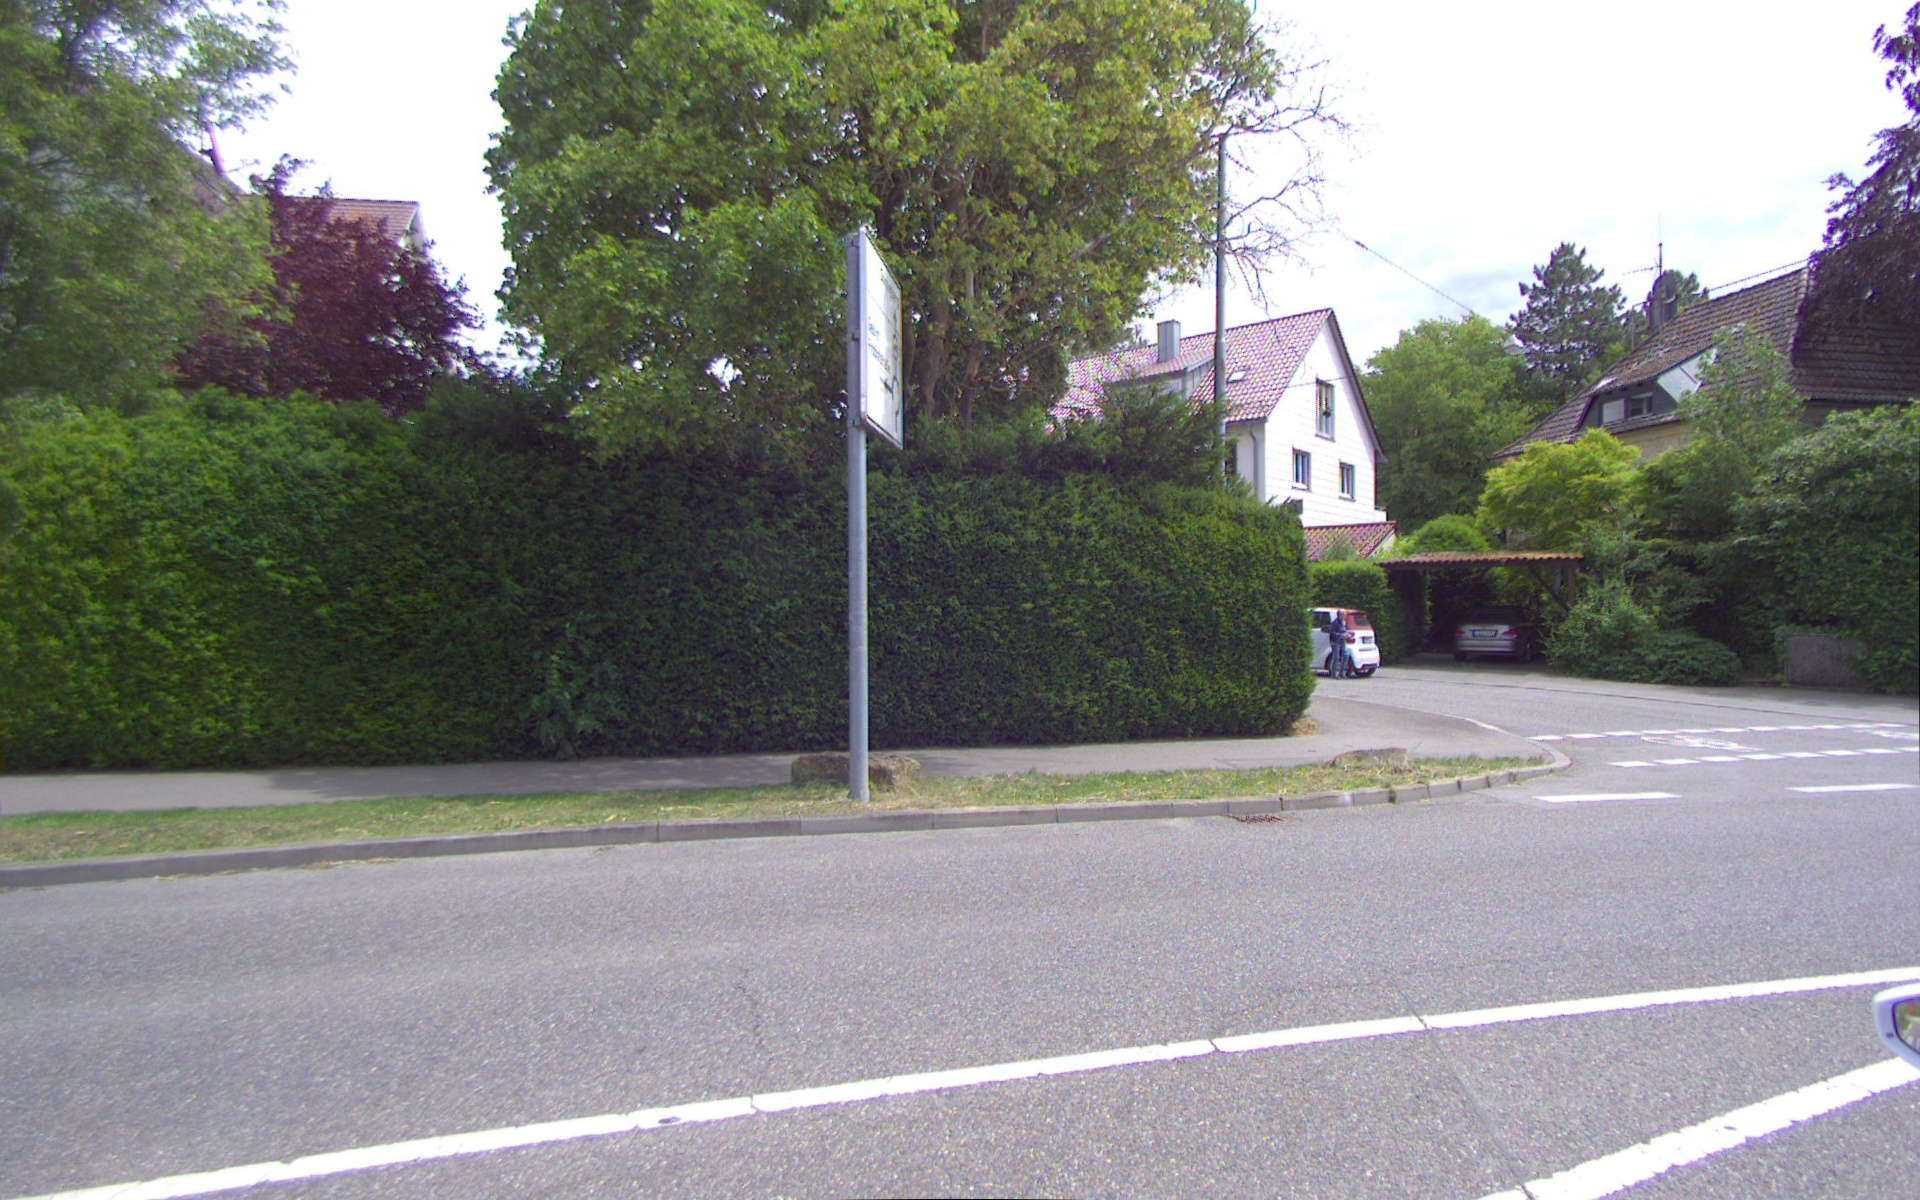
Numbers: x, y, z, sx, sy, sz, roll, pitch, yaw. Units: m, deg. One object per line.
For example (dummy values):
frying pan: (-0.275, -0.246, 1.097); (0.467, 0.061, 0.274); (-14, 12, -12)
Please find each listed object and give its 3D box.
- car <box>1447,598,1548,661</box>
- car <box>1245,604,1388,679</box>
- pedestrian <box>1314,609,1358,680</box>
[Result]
car: (14.164, 0.712, 26.369); (1.701, 1.530, 3.983); (1, 0, 38)
car: (8.338, 0.926, 23.547); (2.739, 1.576, 1.580); (1, 0, 44)
pedestrian: (8.283, 0.969, 22.120); (0.720, 1.529, 0.624); (1, 0, 41)
